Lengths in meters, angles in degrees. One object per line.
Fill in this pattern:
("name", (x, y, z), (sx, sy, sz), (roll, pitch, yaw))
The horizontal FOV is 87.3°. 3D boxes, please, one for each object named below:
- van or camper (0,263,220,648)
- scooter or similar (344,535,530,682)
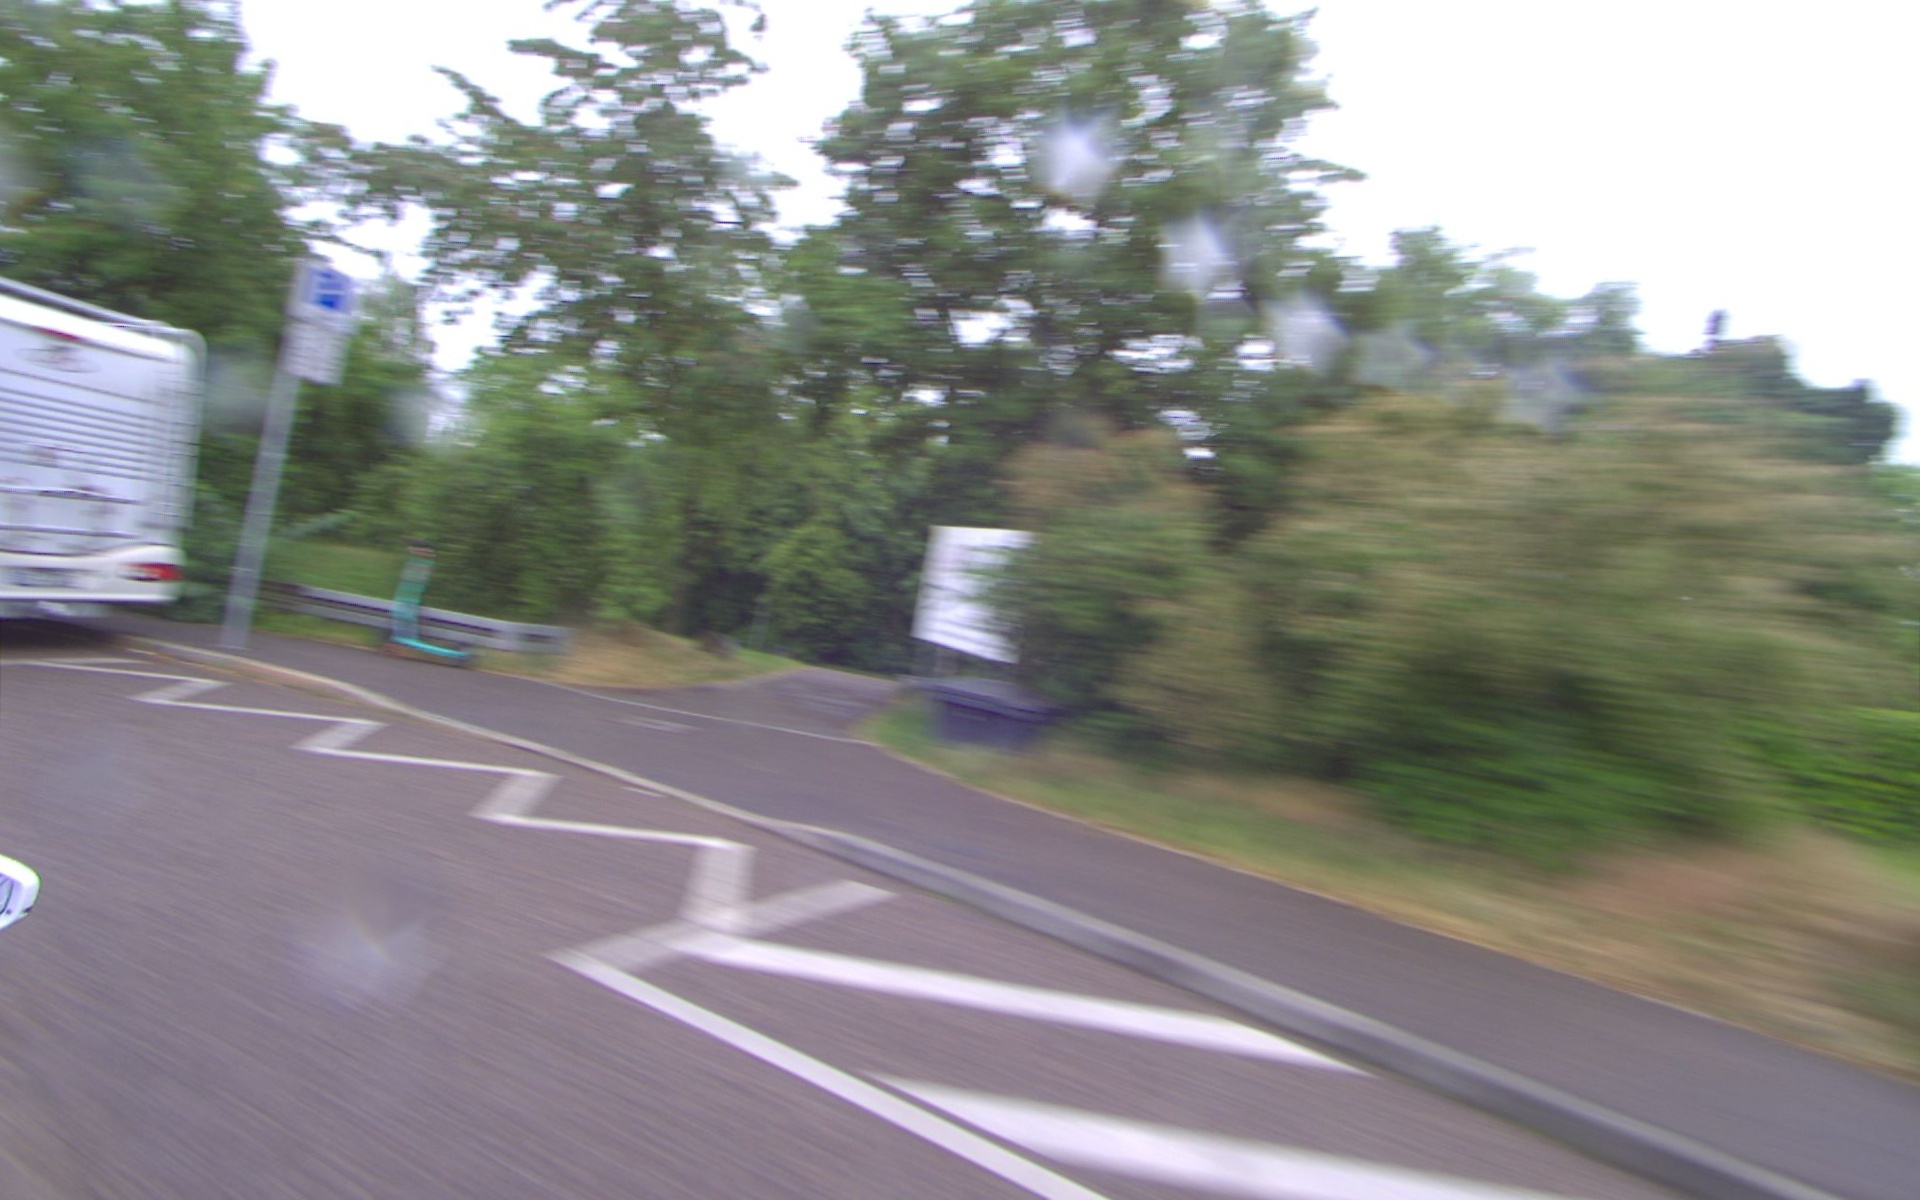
("van or camper", (-10.380, -1.526, 8.949), (6.162, 2.982, 2.397), (8, 2, 11))
("scooter or similar", (-5.431, 0.085, 10.451), (1.677, 1.297, 0.452), (7, 0, 12))
